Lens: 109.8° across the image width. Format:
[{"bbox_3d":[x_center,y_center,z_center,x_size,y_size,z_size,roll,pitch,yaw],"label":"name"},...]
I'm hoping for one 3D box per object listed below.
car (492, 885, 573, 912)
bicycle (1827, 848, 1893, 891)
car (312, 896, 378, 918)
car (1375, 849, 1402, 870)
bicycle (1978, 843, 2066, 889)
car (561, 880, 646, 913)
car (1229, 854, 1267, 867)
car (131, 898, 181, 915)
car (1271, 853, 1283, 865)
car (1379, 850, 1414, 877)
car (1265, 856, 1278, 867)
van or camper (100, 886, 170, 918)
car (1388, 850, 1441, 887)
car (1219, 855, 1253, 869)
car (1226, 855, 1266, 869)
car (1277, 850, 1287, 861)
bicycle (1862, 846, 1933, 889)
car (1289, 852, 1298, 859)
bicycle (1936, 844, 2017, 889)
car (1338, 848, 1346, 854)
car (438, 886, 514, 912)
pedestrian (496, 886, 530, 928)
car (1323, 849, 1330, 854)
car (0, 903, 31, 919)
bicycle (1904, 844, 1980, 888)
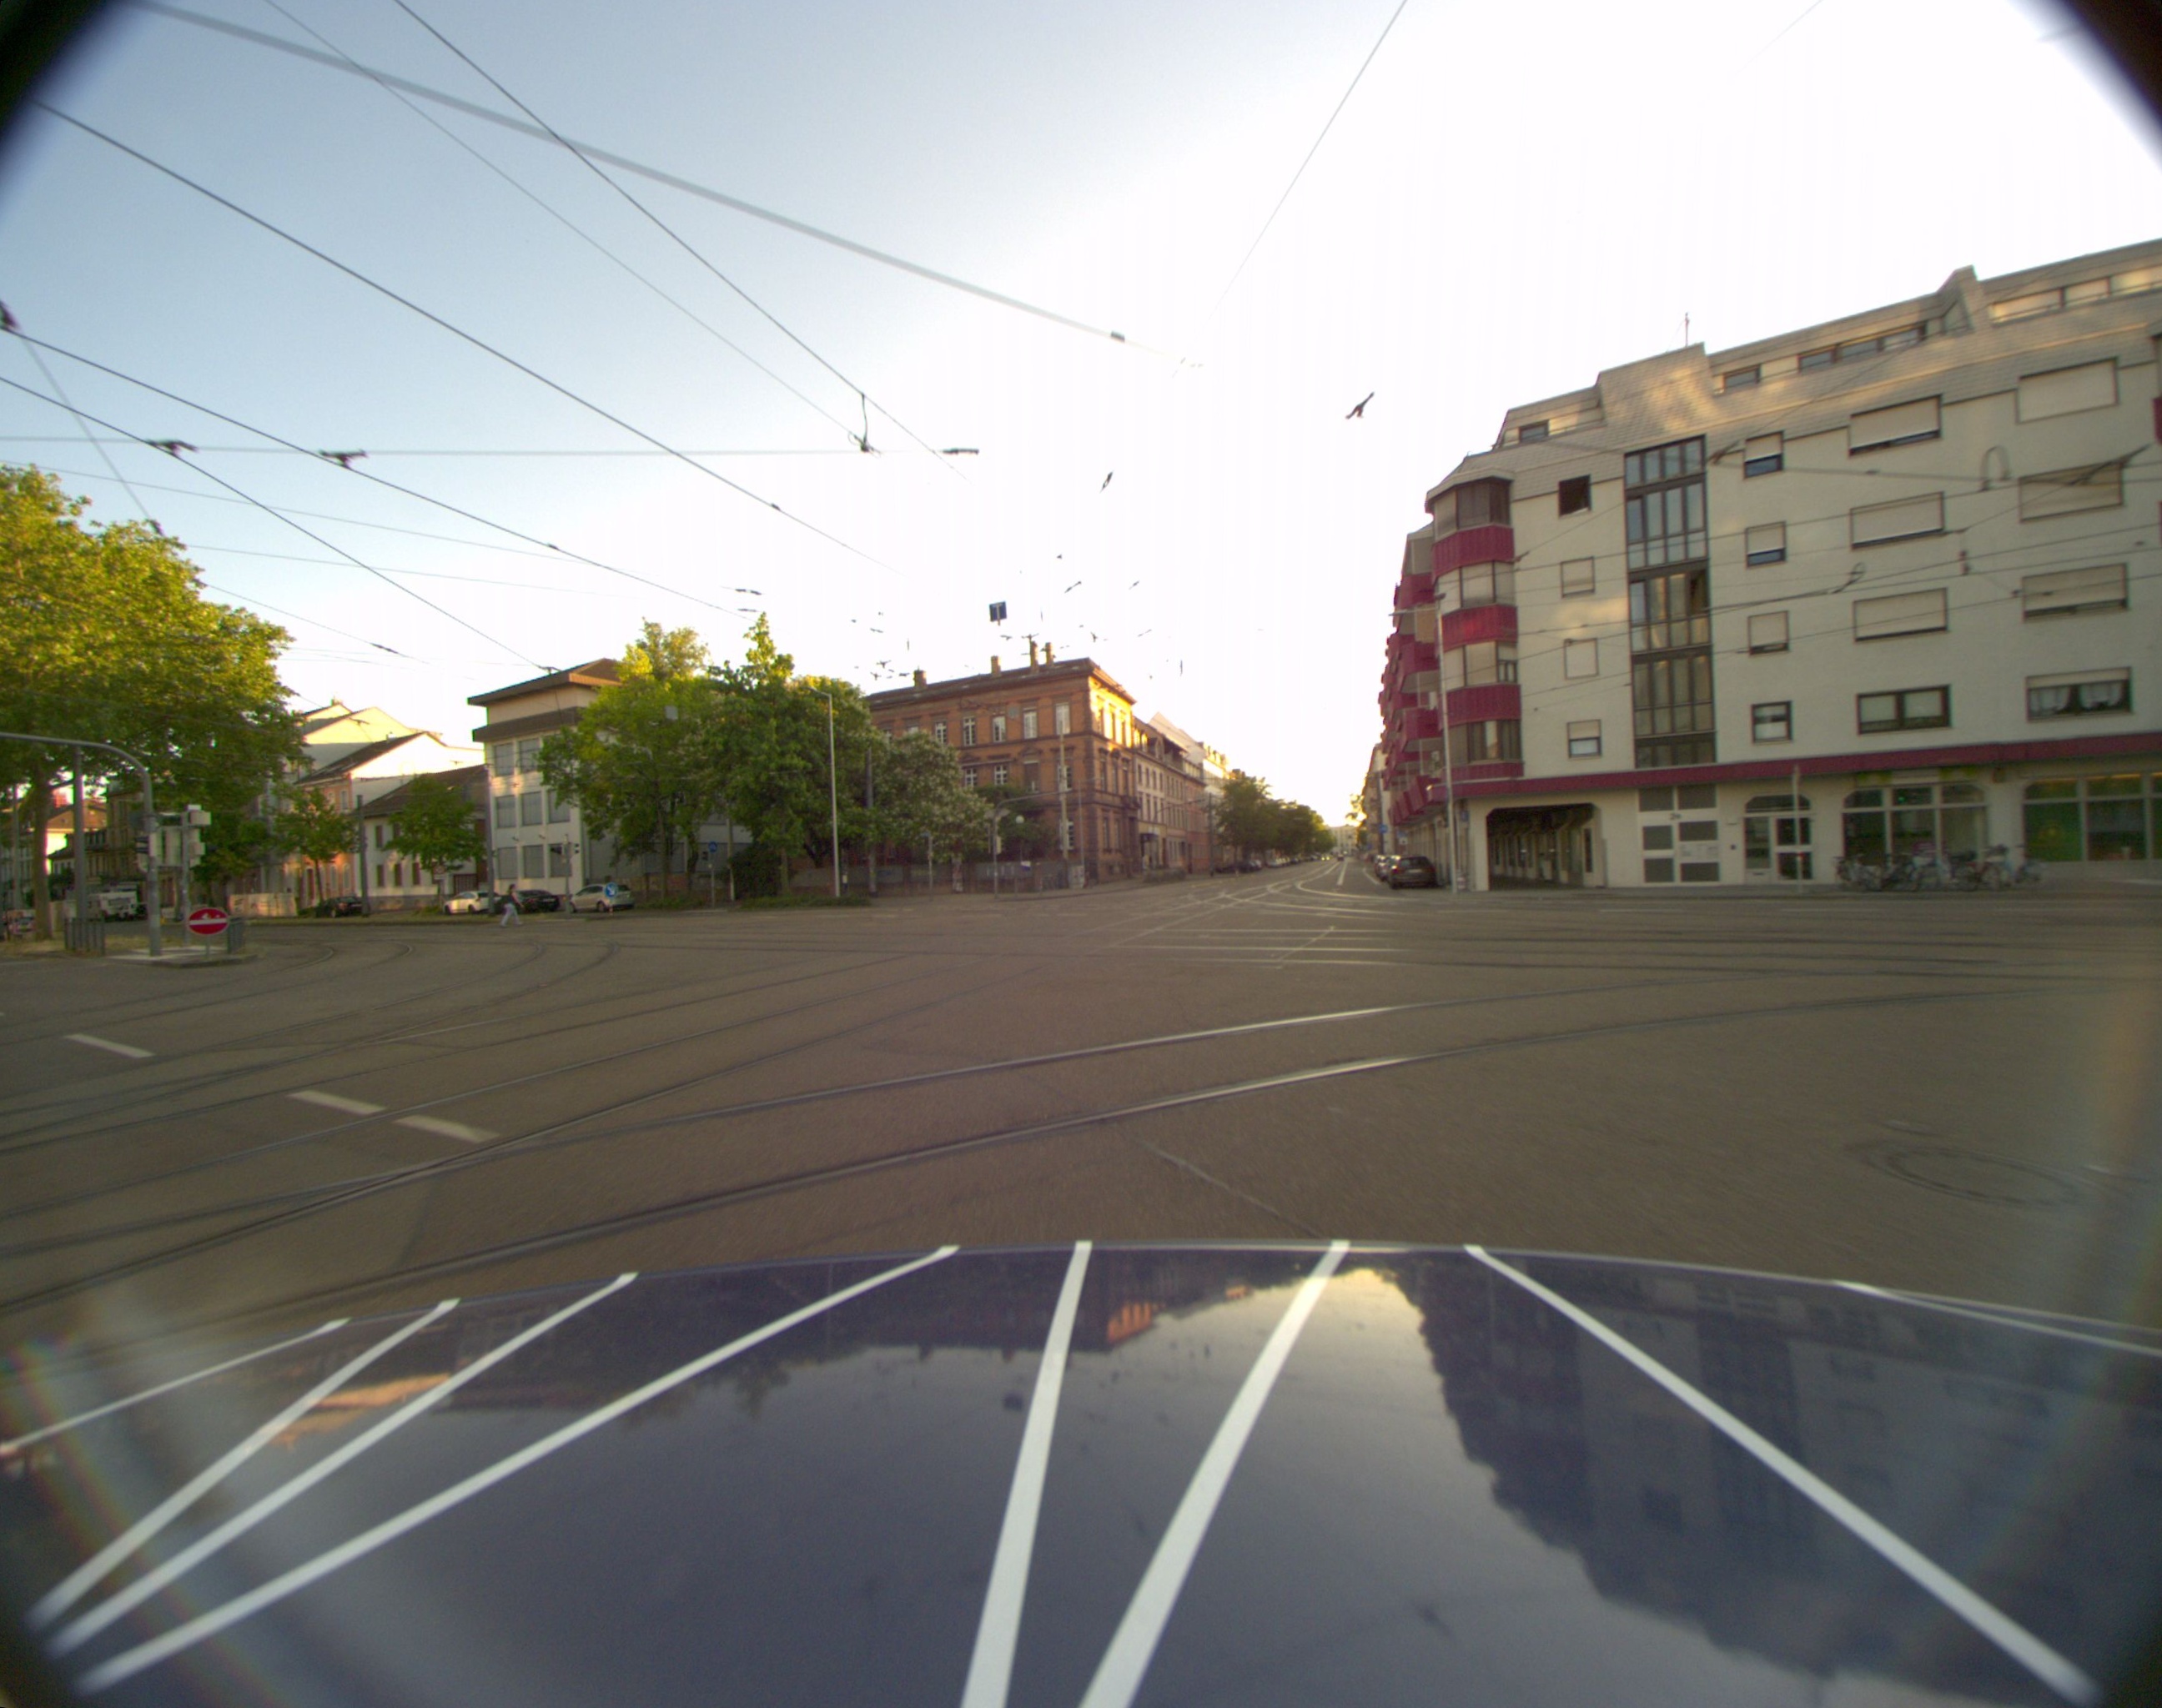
[{"bbox_3d":[-32.811,2.668,45.435,4.350,1.416,2.003,-3,0,25],"label":"car"},{"bbox_3d":[20.256,0.385,19.803,0.514,1.040,1.906,-2,0,24],"label":"bicycle"},{"bbox_3d":[-53.160,3.838,54.868,4.222,1.416,2.003,-3,0,25],"label":"car"},{"bbox_3d":[23.959,0.422,59.248,1.783,1.448,4.303,-3,0,22],"label":"car"},{"bbox_3d":[22.694,0.264,18.364,0.514,1.040,1.906,-2,0,24],"label":"bicycle"},{"bbox_3d":[-26.778,2.379,42.597,4.222,1.622,2.003,-3,0,25],"label":"car"},{"bbox_3d":[21.416,0.806,97.380,4.696,1.477,1.909,-3,0,15],"label":"car"},{"bbox_3d":[-88.403,4.993,72.640,4.222,1.416,2.003,-3,0,25],"label":"car"},{"bbox_3d":[32.755,0.775,126.891,1.783,1.828,4.302,-3,0,16],"label":"car"},{"bbox_3d":[18.706,0.533,45.176,1.783,1.448,4.303,-3,0,22],"label":"car"},{"bbox_3d":[30.104,1.174,119.915,1.783,1.448,4.302,-3,0,16],"label":"car"},{"bbox_3d":[-95.289,4.839,76.541,7.164,2.953,2.503,-3,0,23],"label":"van or camper"},{"bbox_3d":[14.801,0.594,33.875,2.003,1.448,4.304,-3,0,23],"label":"car"},{"bbox_3d":[18.405,0.923,90.241,3.767,1.477,1.909,-3,0,15],"label":"car"},{"bbox_3d":[20.513,0.953,94.240,4.696,1.477,1.909,-3,0,15],"label":"car"},{"bbox_3d":[37.233,0.256,140.680,1.783,1.828,4.302,-3,0,16],"label":"car"},{"bbox_3d":[20.911,0.325,19.506,0.514,1.040,1.906,-2,0,24],"label":"bicycle"},{"bbox_3d":[45.477,0.384,162.840,1.783,1.426,4.302,-3,0,16],"label":"car"},{"bbox_3d":[22.228,0.288,18.905,0.514,1.040,1.906,-2,0,24],"label":"bicycle"},{"bbox_3d":[64.414,-0.750,187.534,1.783,1.448,4.302,-3,0,18],"label":"car"},{"bbox_3d":[-38.140,2.849,47.914,4.222,1.416,2.003,-3,0,25],"label":"car"},{"bbox_3d":[-21.754,2.026,29.110,0.579,1.517,0.819,-2,0,31],"label":"pedestrian"},{"bbox_3d":[72.629,-0.656,225.068,1.783,1.448,4.303,-3,0,19],"label":"car"},{"bbox_3d":[-105.931,5.589,74.932,4.638,1.392,1.955,-2,1,25],"label":"car"},{"bbox_3d":[21.706,0.283,19.200,0.514,1.040,1.906,-2,0,24],"label":"bicycle"}]
